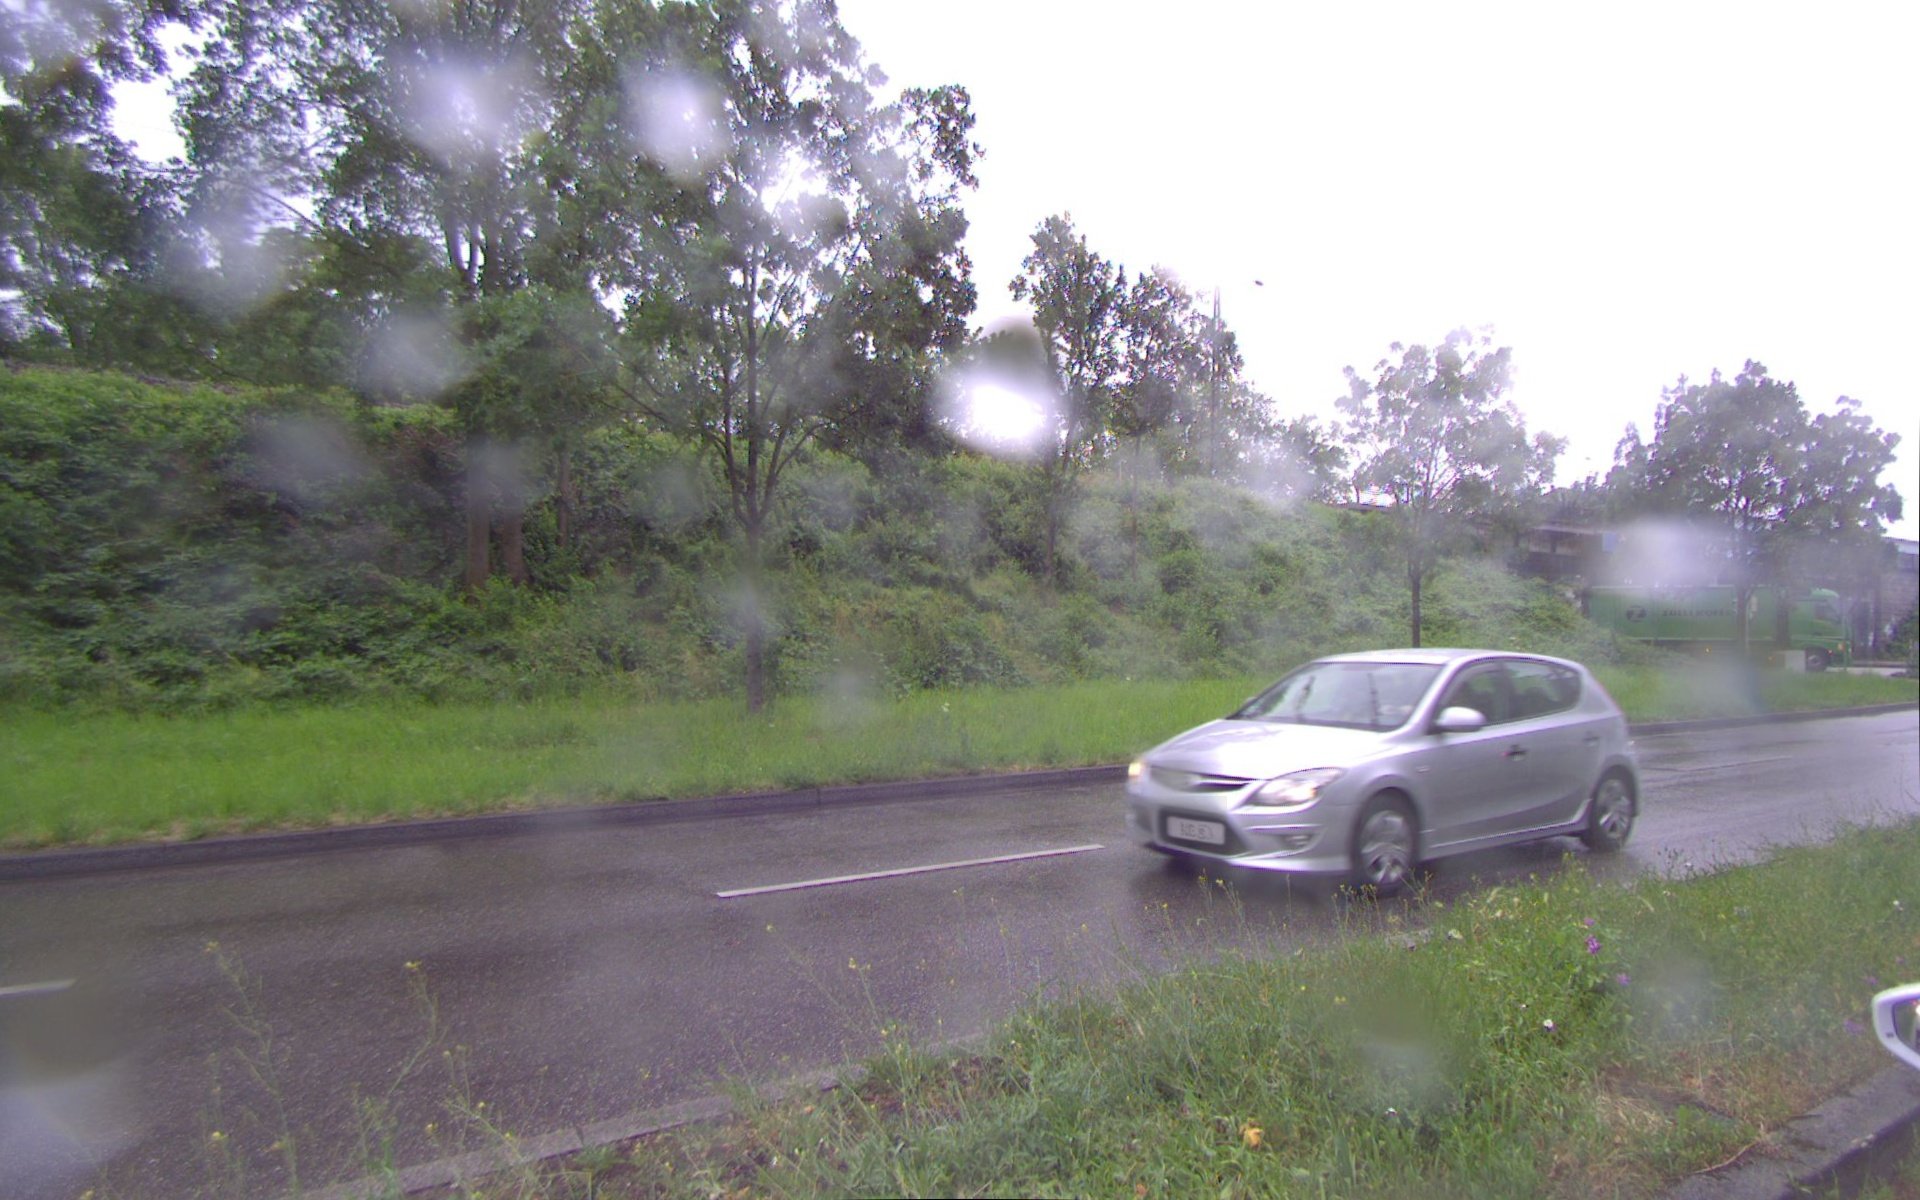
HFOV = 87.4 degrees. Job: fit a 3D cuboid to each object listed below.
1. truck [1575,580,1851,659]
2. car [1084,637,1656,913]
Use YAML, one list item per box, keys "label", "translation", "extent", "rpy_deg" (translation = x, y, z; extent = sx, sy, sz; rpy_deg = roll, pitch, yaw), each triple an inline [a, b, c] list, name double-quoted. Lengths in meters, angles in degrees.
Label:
- label: "truck"
  translation: [34.295, 0.830, 46.308]
  extent: [9.872, 3.416, 2.346]
  rpy_deg: [0, -1, 25]
- label: "car"
  translation: [3.014, 1.036, 7.235]
  extent: [3.954, 1.481, 1.807]
  rpy_deg: [2, -4, -31]
